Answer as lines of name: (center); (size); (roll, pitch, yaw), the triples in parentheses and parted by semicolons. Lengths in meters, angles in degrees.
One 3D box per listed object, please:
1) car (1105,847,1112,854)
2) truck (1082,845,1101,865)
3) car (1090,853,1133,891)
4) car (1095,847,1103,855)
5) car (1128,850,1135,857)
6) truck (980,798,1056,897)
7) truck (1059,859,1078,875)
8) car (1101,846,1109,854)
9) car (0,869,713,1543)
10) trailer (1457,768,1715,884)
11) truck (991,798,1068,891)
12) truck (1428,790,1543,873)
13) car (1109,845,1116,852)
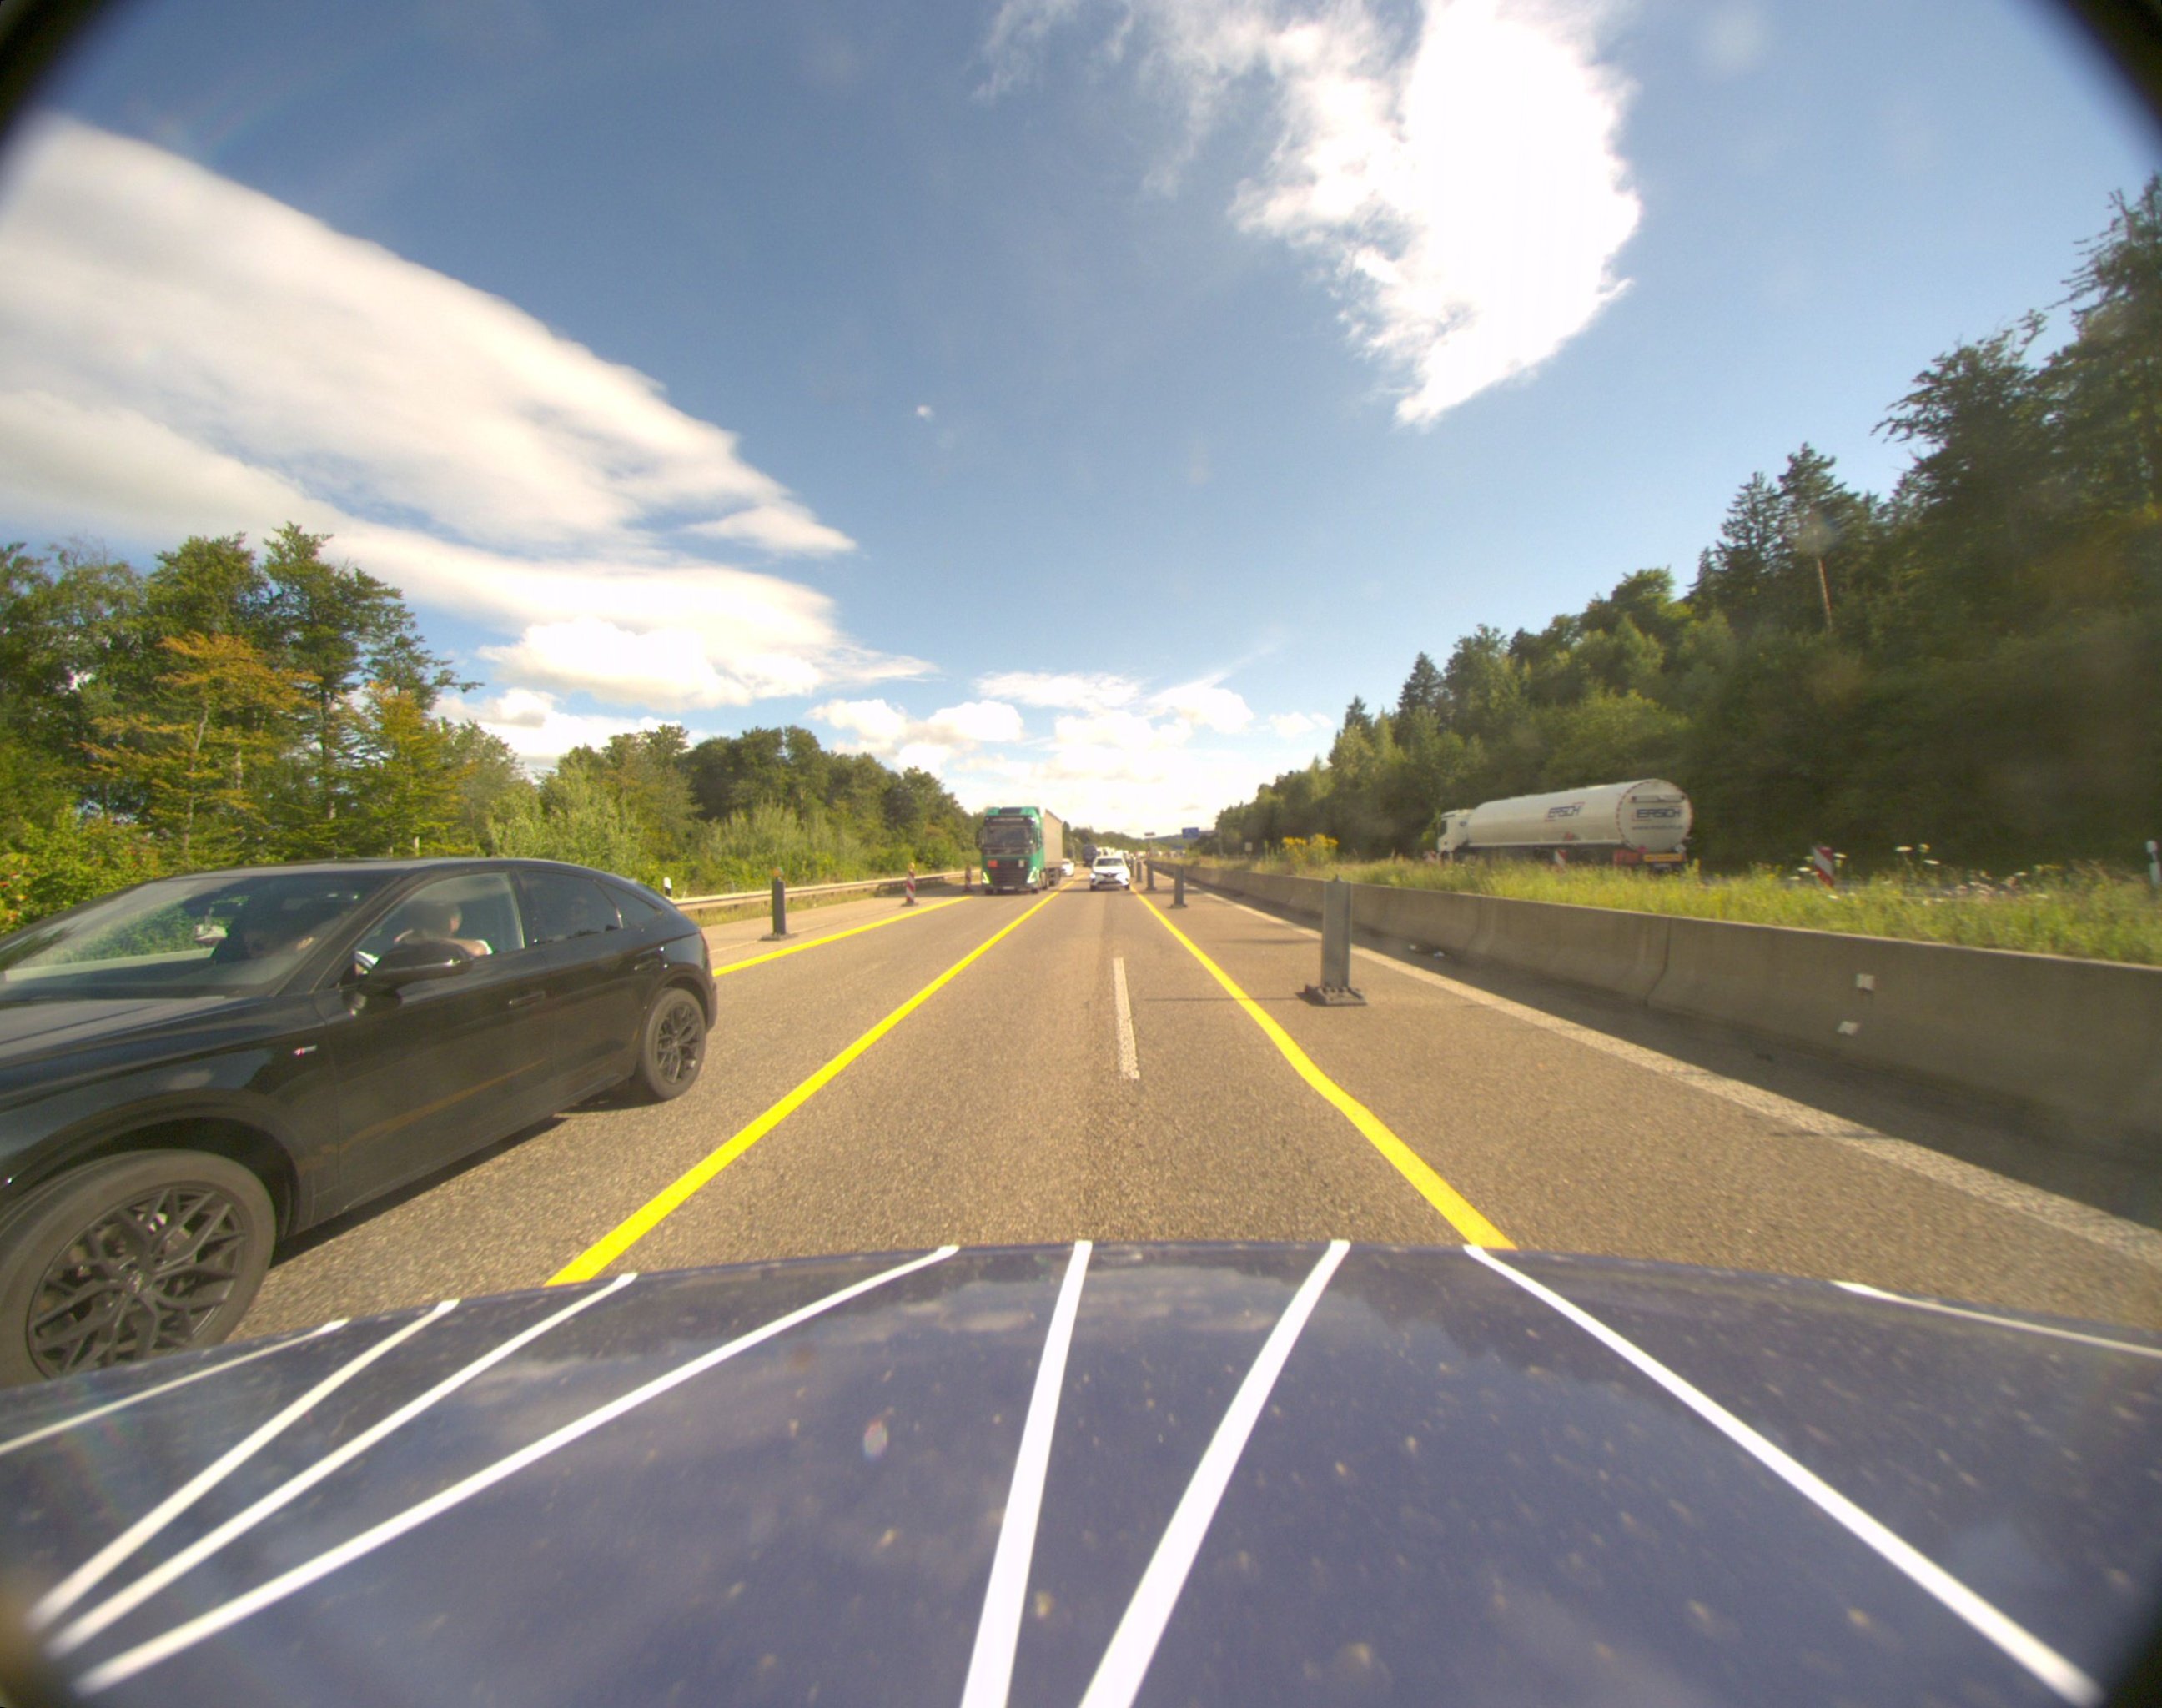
car: (6.719, -0.847, 187.064); (1.750, 1.787, 4.000); (-2, 1, 2)
truck: (1.885, 0.155, 129.765); (2.576, 3.167, 6.804); (-2, 1, 5)
car: (1.430, 0.787, 35.196); (1.782, 1.593, 4.018); (-2, 1, 3)
car: (3.901, -0.660, 163.671); (1.750, 1.787, 4.000); (-2, 1, 2)
car: (13.914, -0.113, 209.564); (1.998, 2.002, 4.001); (-2, 1, 5)
truck: (-2.755, -0.316, 35.372); (2.527, 4.075, 6.857); (-2, 1, 3)
truck: (-1.011, 1.099, 63.717); (1.467, 1.215, 3.087); (-2, 1, 0)
car: (5.464, -0.977, 174.526); (1.750, 1.787, 4.000); (-2, 1, 2)
car: (-3.607, 0.955, 3.322); (1.782, 1.593, 4.293); (-2, 1, 1)
trailer: (18.328, -0.922, 29.009); (2.808, 3.469, 11.113); (-2, 1, 2)
truck: (-2.487, -0.403, 41.636); (2.470, 4.119, 14.213); (-2, 0, 3)
truck: (18.585, -0.987, 35.281); (2.791, 3.469, 4.939); (-2, 1, 3)
car: (9.012, -1.658, 218.667); (1.750, 1.787, 4.000); (-2, 1, 2)
